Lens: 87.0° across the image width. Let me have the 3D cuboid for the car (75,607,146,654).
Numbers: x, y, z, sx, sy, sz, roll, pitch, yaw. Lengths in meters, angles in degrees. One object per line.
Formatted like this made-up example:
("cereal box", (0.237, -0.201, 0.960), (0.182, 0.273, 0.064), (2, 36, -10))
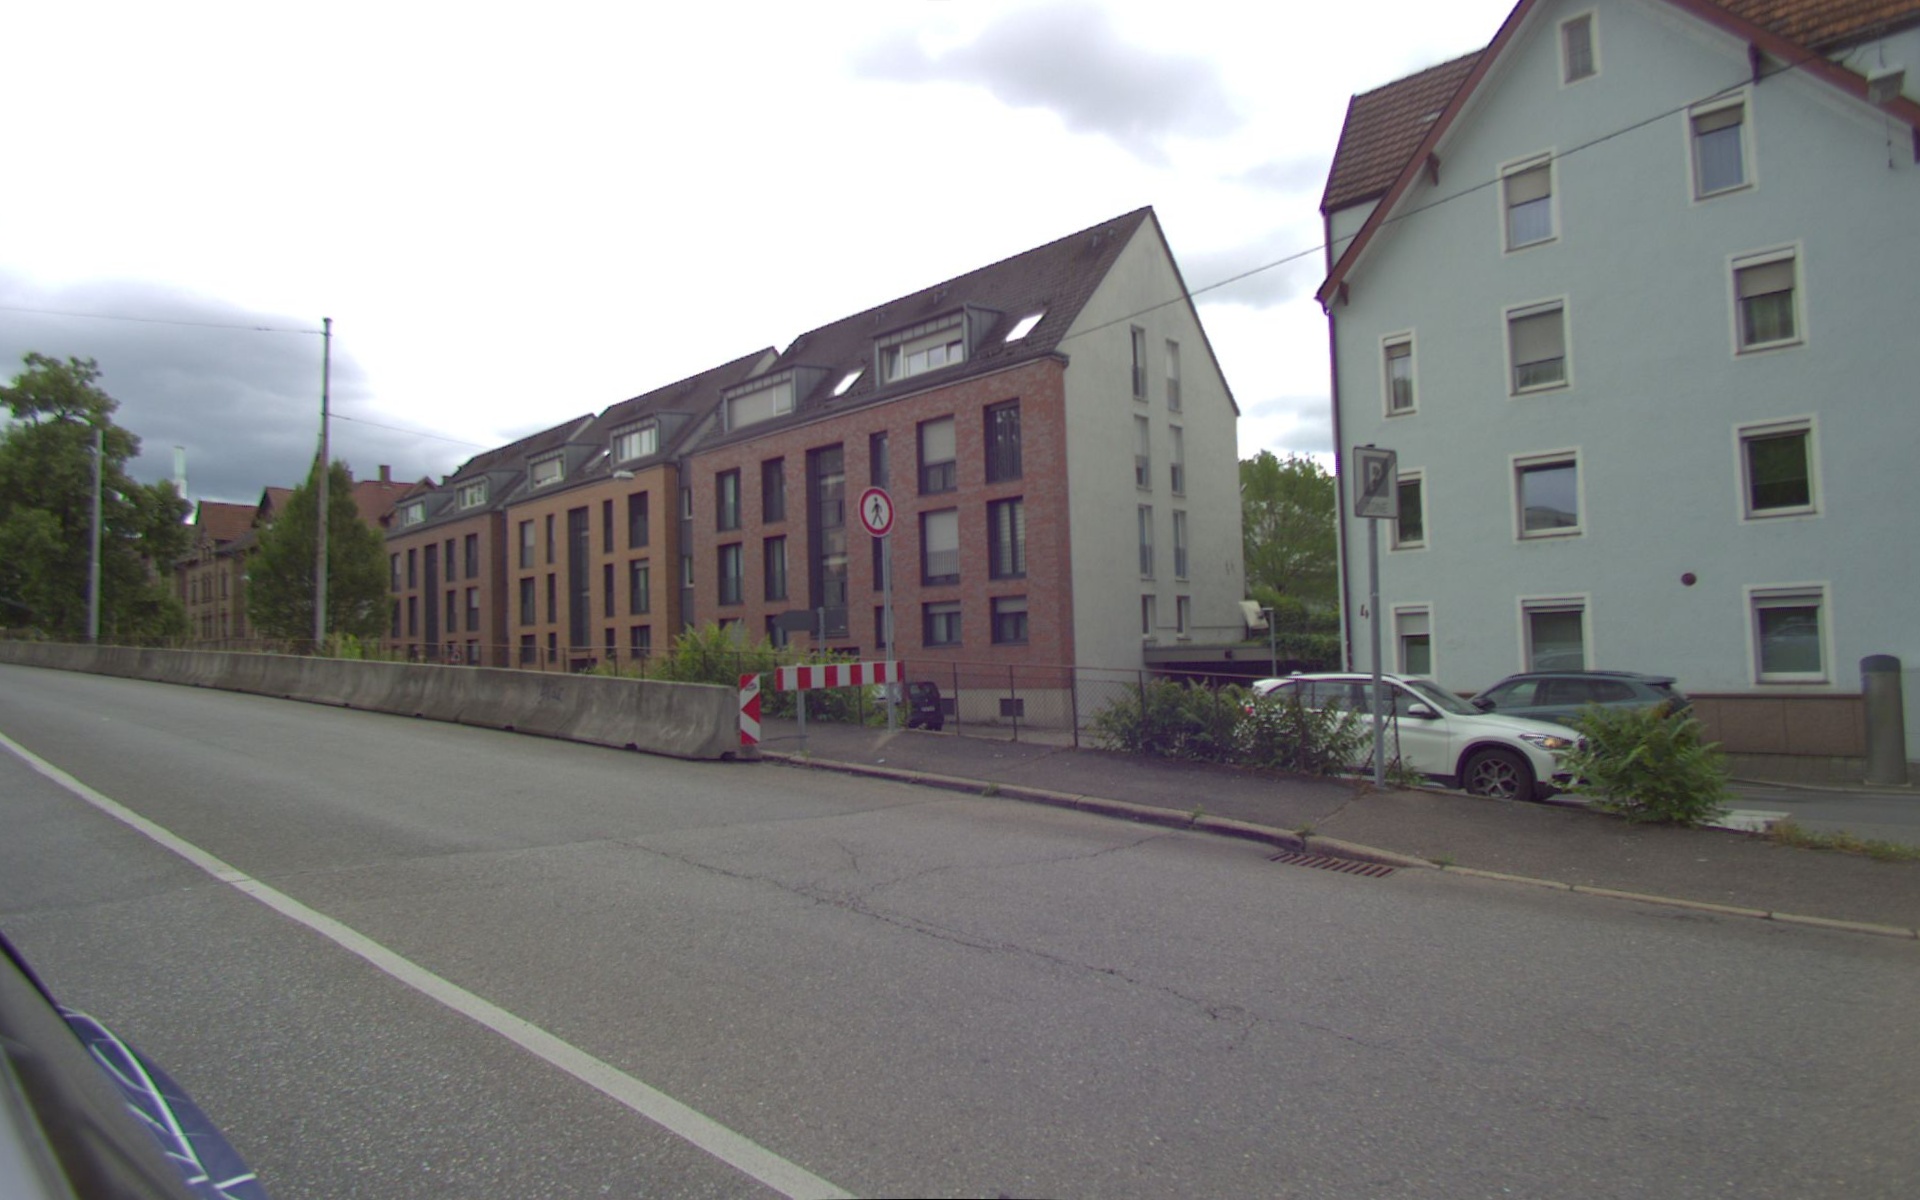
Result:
("car", (-50.079, 1.721, 59.604), (5.736, 2.601, 2.531), (0, 0, 43))

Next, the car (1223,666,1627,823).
("car", (5.859, 1.702, 13.108), (4.422, 1.525, 1.808), (-2, -1, 42))

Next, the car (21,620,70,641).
("car", (-63.304, 2.126, 70.043), (3.997, 1.364, 1.973), (-1, -3, 41))

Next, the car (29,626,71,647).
("car", (-71.978, 2.858, 80.011), (3.997, 1.564, 1.973), (-2, -2, 41))

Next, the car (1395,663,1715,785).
("car", (9.532, 1.891, 16.415), (4.232, 1.567, 1.664), (-2, -2, 41))

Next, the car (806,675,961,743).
("car", (-2.134, 2.919, 27.772), (3.994, 1.675, 1.974), (-3, -4, 38))
